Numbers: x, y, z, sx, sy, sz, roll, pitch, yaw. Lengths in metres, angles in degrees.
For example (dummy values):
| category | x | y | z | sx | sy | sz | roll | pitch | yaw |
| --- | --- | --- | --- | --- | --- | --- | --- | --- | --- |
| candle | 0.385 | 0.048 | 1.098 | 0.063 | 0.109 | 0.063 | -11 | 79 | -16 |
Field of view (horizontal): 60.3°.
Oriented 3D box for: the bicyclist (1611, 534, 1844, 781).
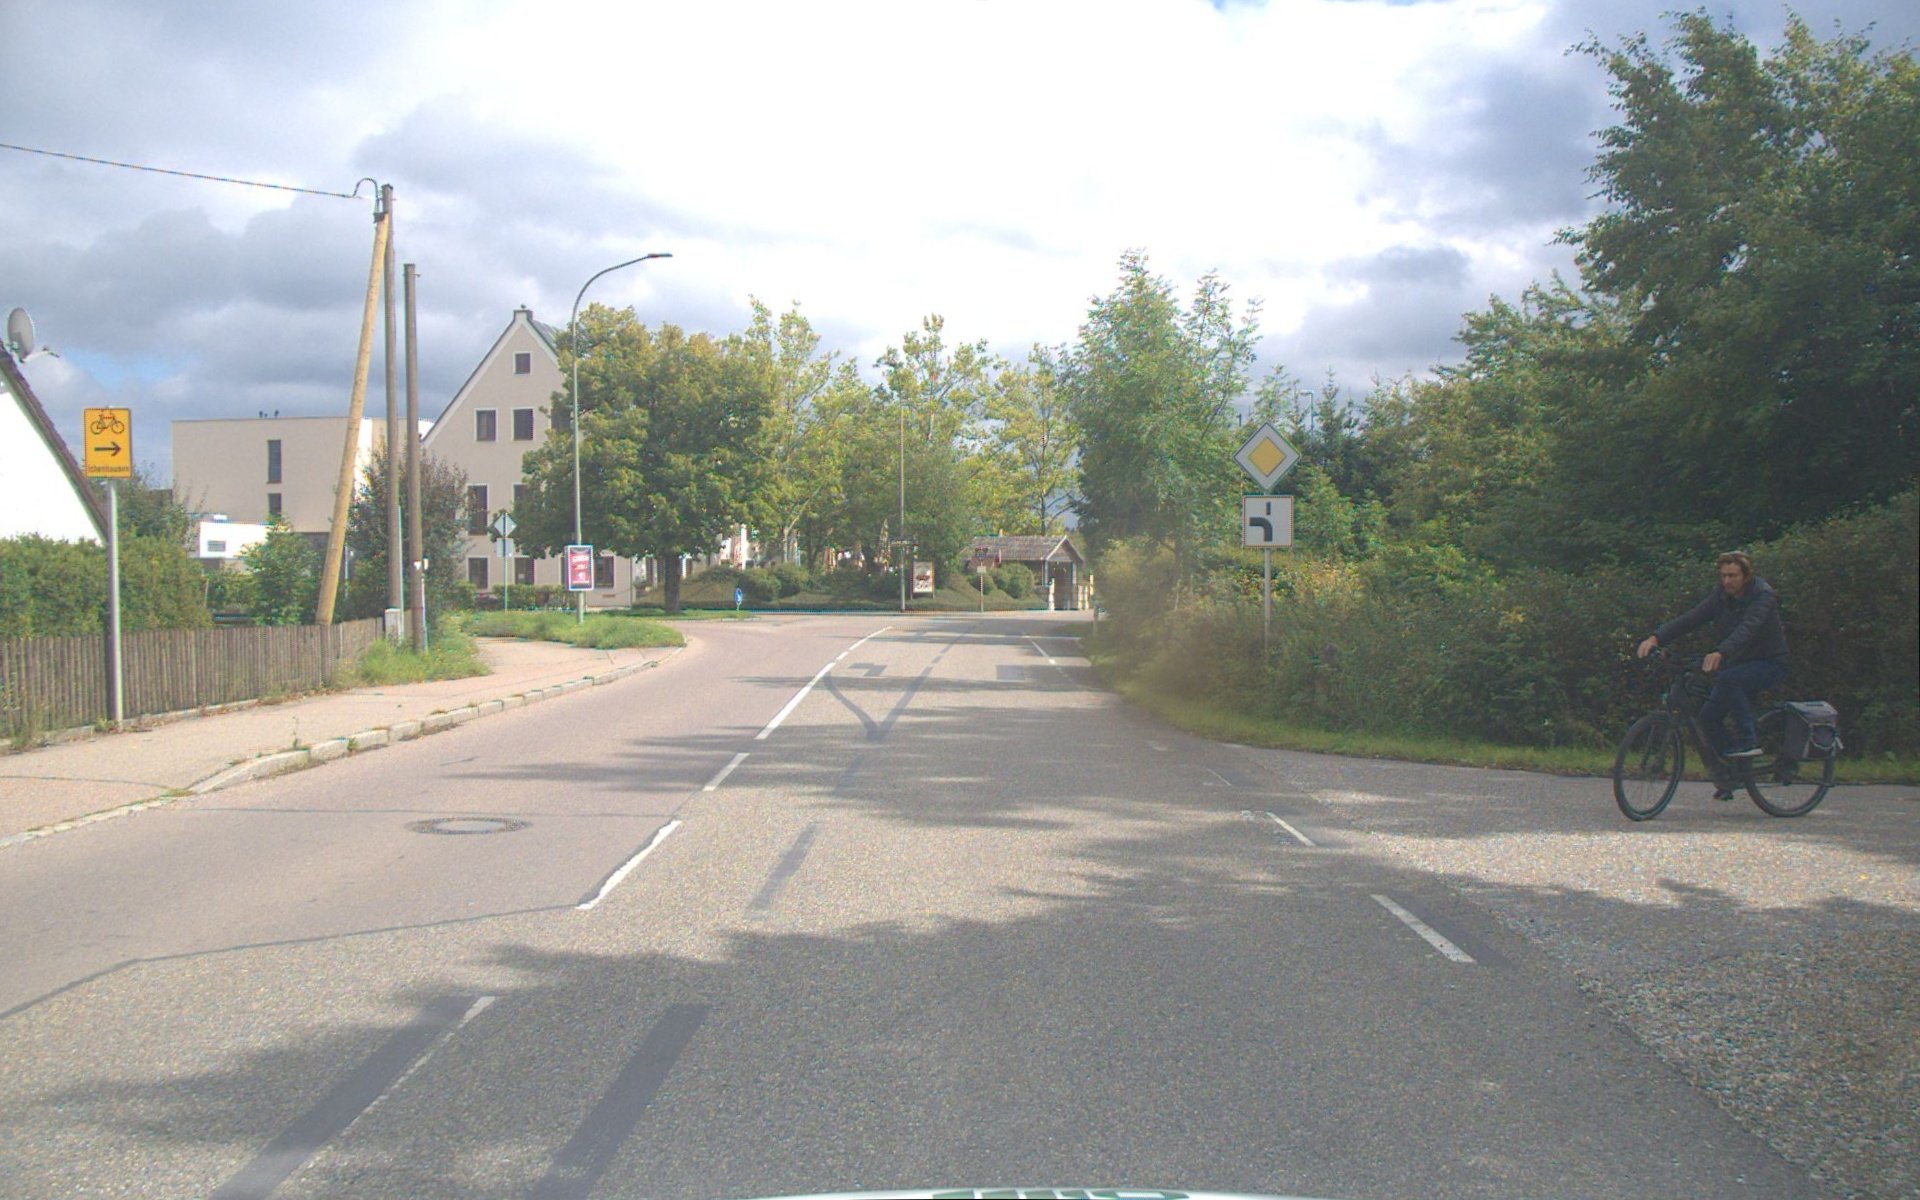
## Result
| category | x | y | z | sx | sy | sz | roll | pitch | yaw |
| --- | --- | --- | --- | --- | --- | --- | --- | --- | --- |
| bicyclist | 5.267 | 0.373 | 11.408 | 1.000 | 1.613 | 1.050 | 1 | 1 | -14 |

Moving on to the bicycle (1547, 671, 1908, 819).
| category | x | y | z | sx | sy | sz | roll | pitch | yaw |
| --- | --- | --- | --- | --- | --- | --- | --- | --- | --- |
| bicycle | 5.273 | 0.967 | 11.420 | 2.080 | 0.879 | 1.050 | 0 | 1 | -15 |
